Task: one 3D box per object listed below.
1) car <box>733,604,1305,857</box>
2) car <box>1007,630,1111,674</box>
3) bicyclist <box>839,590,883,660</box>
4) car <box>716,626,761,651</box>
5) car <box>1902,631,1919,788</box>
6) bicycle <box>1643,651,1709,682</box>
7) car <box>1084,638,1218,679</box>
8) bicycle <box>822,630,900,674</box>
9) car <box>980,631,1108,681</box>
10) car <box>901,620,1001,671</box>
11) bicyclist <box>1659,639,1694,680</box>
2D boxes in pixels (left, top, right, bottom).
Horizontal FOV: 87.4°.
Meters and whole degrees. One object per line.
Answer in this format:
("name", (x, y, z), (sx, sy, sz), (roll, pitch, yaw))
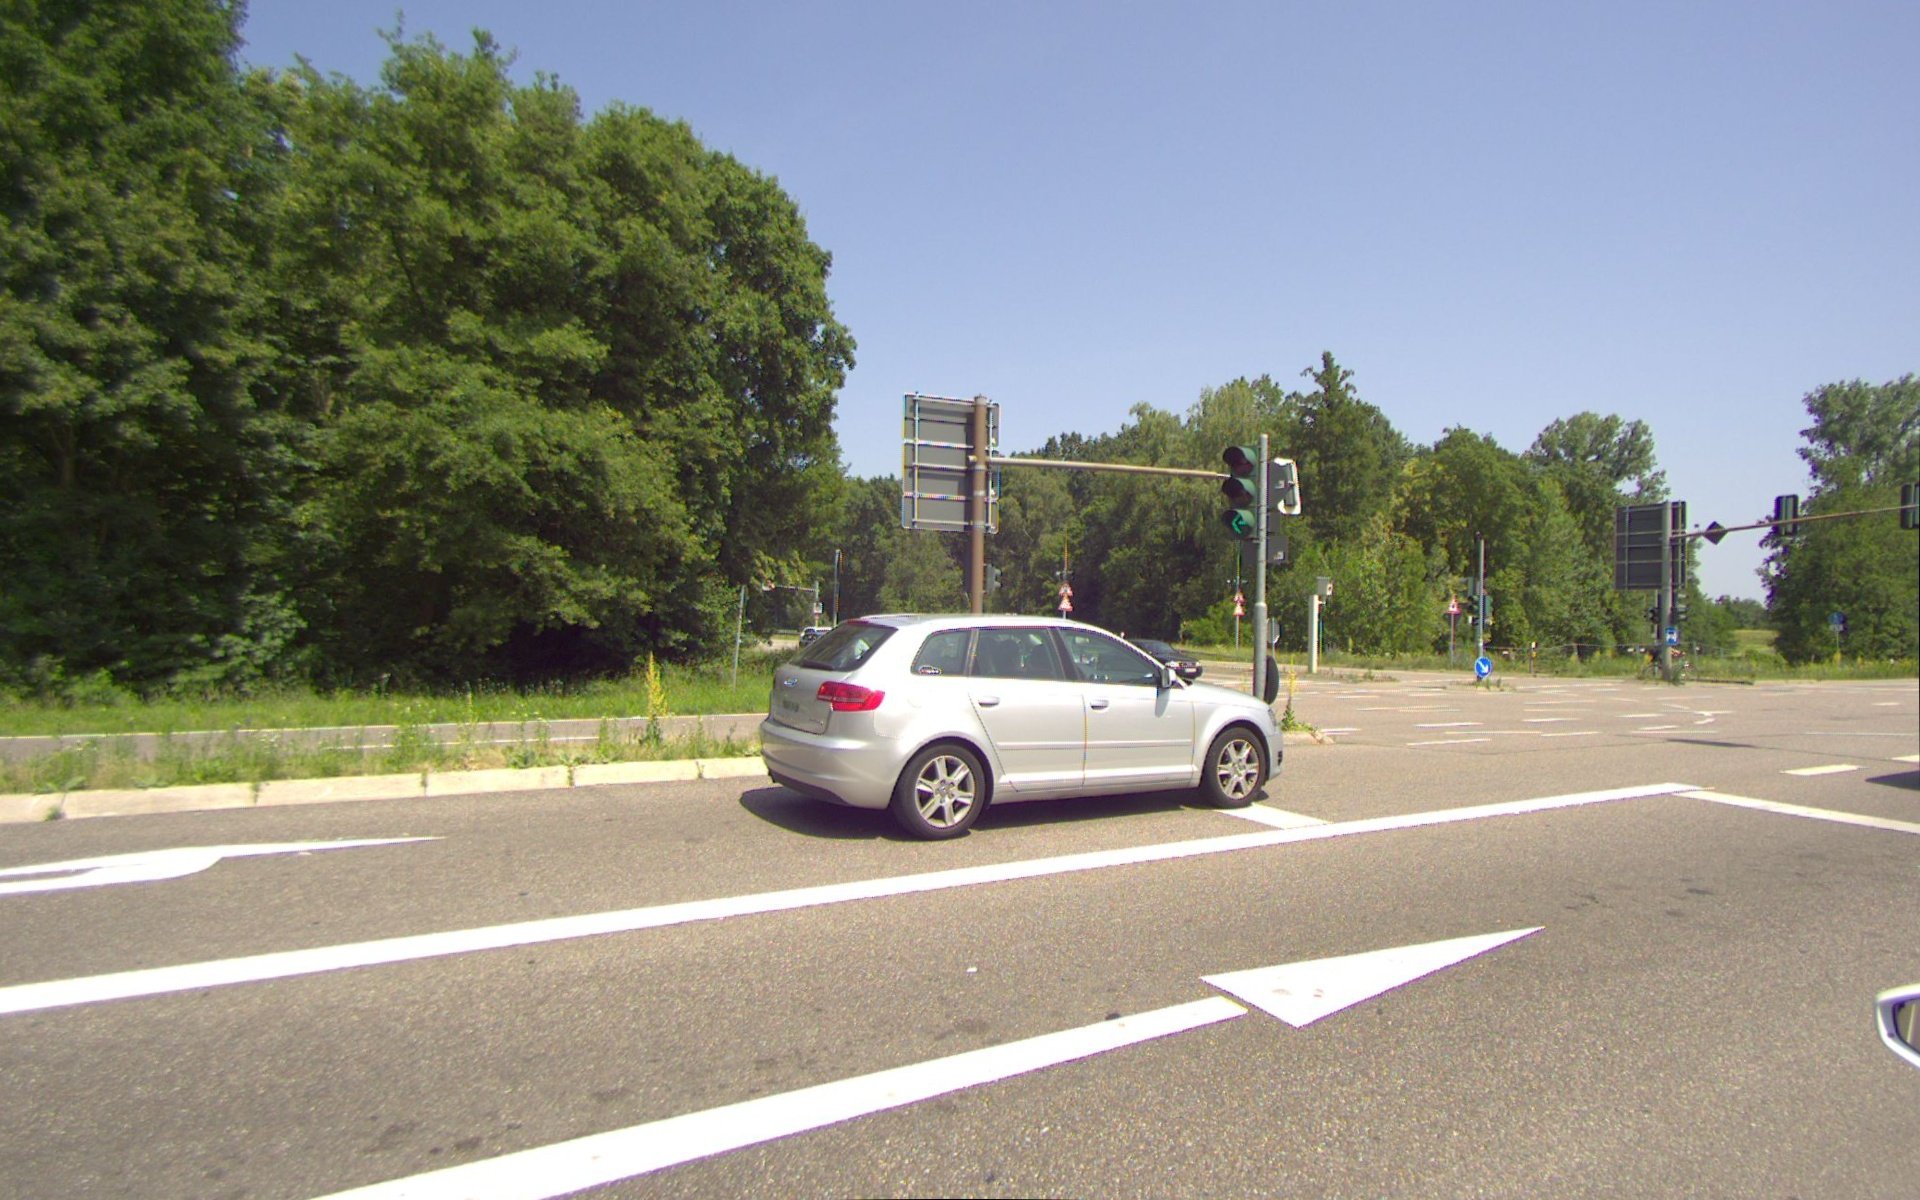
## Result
("car", (0.525, 0.789, 7.484), (3.970, 1.410, 1.755), (2, 0, -32))
("car", (3.903, 2.043, 40.362), (1.974, 1.657, 4.790), (2, -2, -26))
("bicyclist", (-2.154, 0.551, 21.826), (0.798, 1.484, 0.658), (1, -2, -20))
("car", (-16.834, 2.905, 76.150), (1.977, 1.780, 4.781), (2, -2, -31))
("car", (10.890, 1.076, 9.624), (3.782, 1.449, 1.658), (2, 0, -29))
("bicycle", (26.297, 2.443, 36.907), (1.831, 1.077, 0.725), (0, -2, 8))
("car", (6.649, 2.011, 35.497), (2.080, 1.307, 4.785), (2, -2, -29))
("bicycle", (-2.148, 1.127, 21.832), (1.581, 0.935, 0.564), (1, -2, -21))
("car", (2.803, 1.868, 34.588), (2.104, 1.588, 4.784), (2, -2, -29))
("car", (-0.443, 1.783, 40.384), (1.976, 1.923, 4.783), (2, -2, -30))
("bicyclist", (26.307, 2.160, 36.878), (0.701, 1.479, 0.927), (0, -2, 8))
